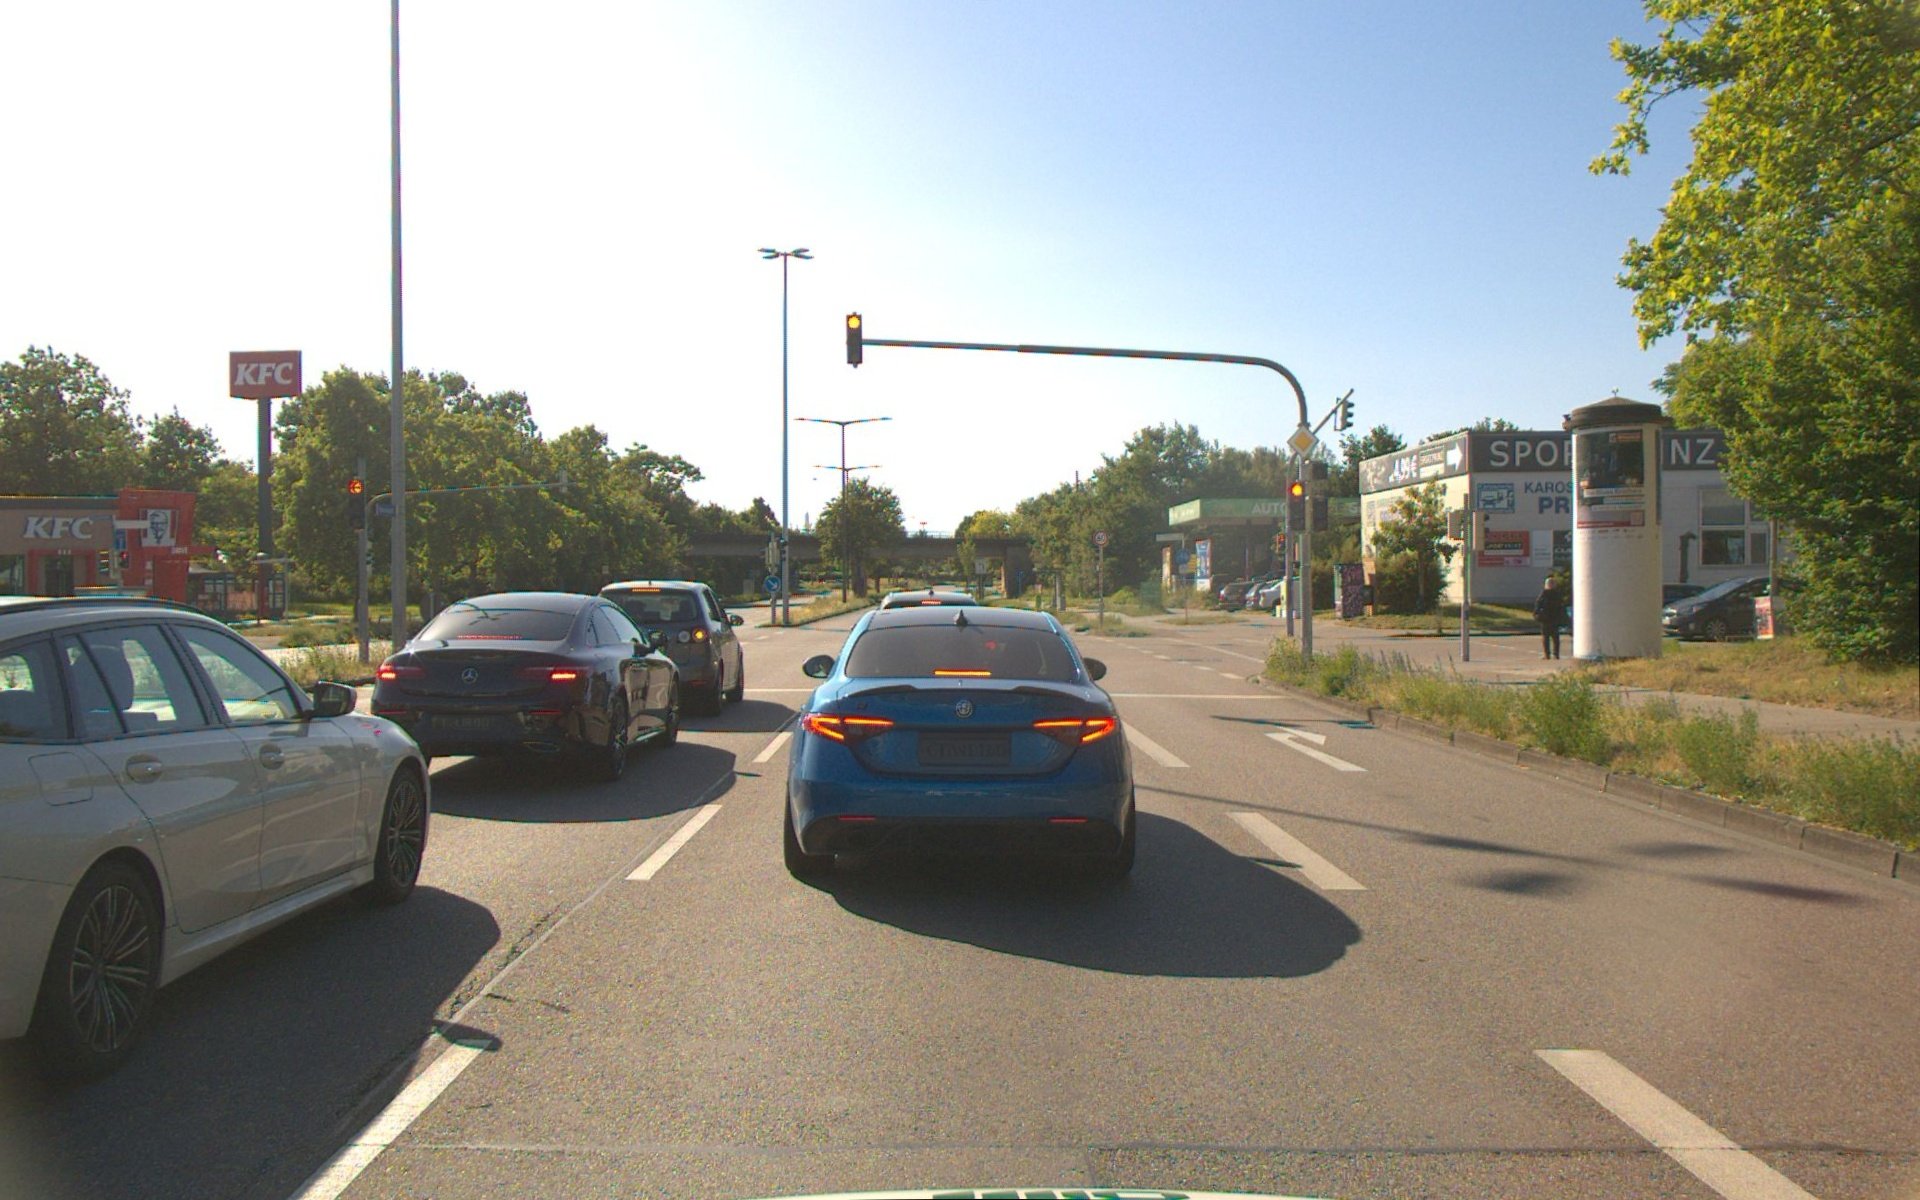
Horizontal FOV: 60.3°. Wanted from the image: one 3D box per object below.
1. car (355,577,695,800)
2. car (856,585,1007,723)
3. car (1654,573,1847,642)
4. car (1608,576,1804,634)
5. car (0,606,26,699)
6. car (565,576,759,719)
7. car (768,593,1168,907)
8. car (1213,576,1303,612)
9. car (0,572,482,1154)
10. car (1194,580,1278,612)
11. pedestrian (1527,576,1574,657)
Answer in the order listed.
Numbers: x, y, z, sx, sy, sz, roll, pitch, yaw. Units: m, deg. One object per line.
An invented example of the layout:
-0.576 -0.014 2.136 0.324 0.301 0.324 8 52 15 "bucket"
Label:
-3.462 0.619 14.068 1.775 1.578 4.542 1 0 -1 "car"
-0.291 0.613 20.413 1.669 1.523 3.719 1 0 1 "car"
20.371 0.187 42.699 4.219 1.678 1.637 1 0 -2 "car"
20.861 0.146 46.353 4.722 1.493 1.758 1 0 -3 "car"
-19.401 1.006 30.135 1.764 1.756 4.326 1 1 11 "car"
-3.617 0.544 20.817 1.776 1.578 4.351 1 0 -2 "car"
0.070 0.718 9.690 1.870 1.447 3.719 1 0 1 "car"
14.109 -0.270 78.347 3.905 1.579 2.000 1 0 0 "car"
-3.372 0.655 6.267 1.775 1.512 4.596 1 0 0 "car"
14.512 -0.211 86.975 3.925 1.579 1.990 1 0 -18 "car"
12.660 0.350 35.479 0.800 1.698 0.514 1 -1 -1 "pedestrian"
